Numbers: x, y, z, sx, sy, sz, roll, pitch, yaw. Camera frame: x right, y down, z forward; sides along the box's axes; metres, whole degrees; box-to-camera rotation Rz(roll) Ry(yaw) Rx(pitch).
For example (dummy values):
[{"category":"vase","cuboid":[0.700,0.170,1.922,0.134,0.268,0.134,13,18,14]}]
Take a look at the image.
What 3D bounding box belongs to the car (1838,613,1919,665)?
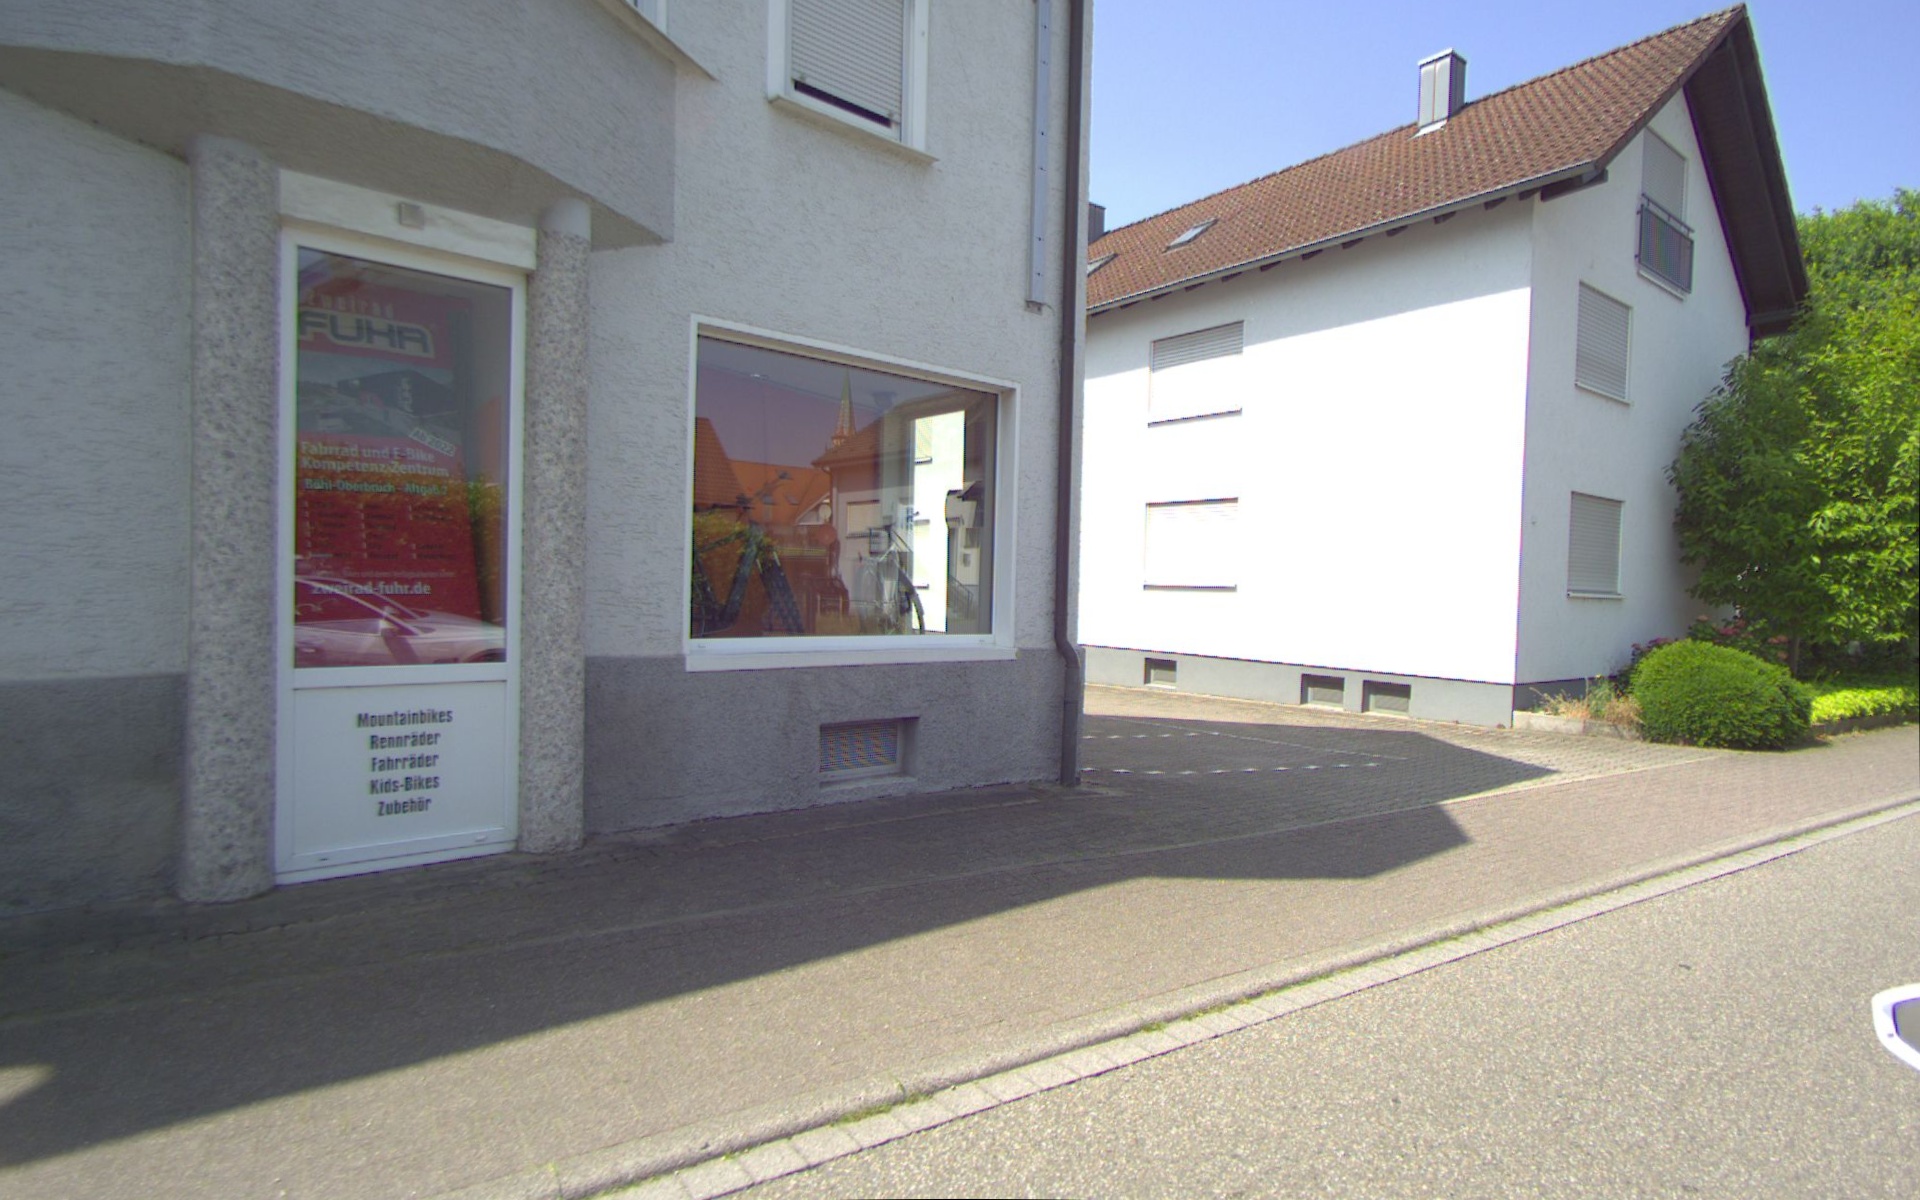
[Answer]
[{"category":"car","cuboid":[29.845,1.194,30.800,1.757,1.559,4.130,0,-1,-37]}]
